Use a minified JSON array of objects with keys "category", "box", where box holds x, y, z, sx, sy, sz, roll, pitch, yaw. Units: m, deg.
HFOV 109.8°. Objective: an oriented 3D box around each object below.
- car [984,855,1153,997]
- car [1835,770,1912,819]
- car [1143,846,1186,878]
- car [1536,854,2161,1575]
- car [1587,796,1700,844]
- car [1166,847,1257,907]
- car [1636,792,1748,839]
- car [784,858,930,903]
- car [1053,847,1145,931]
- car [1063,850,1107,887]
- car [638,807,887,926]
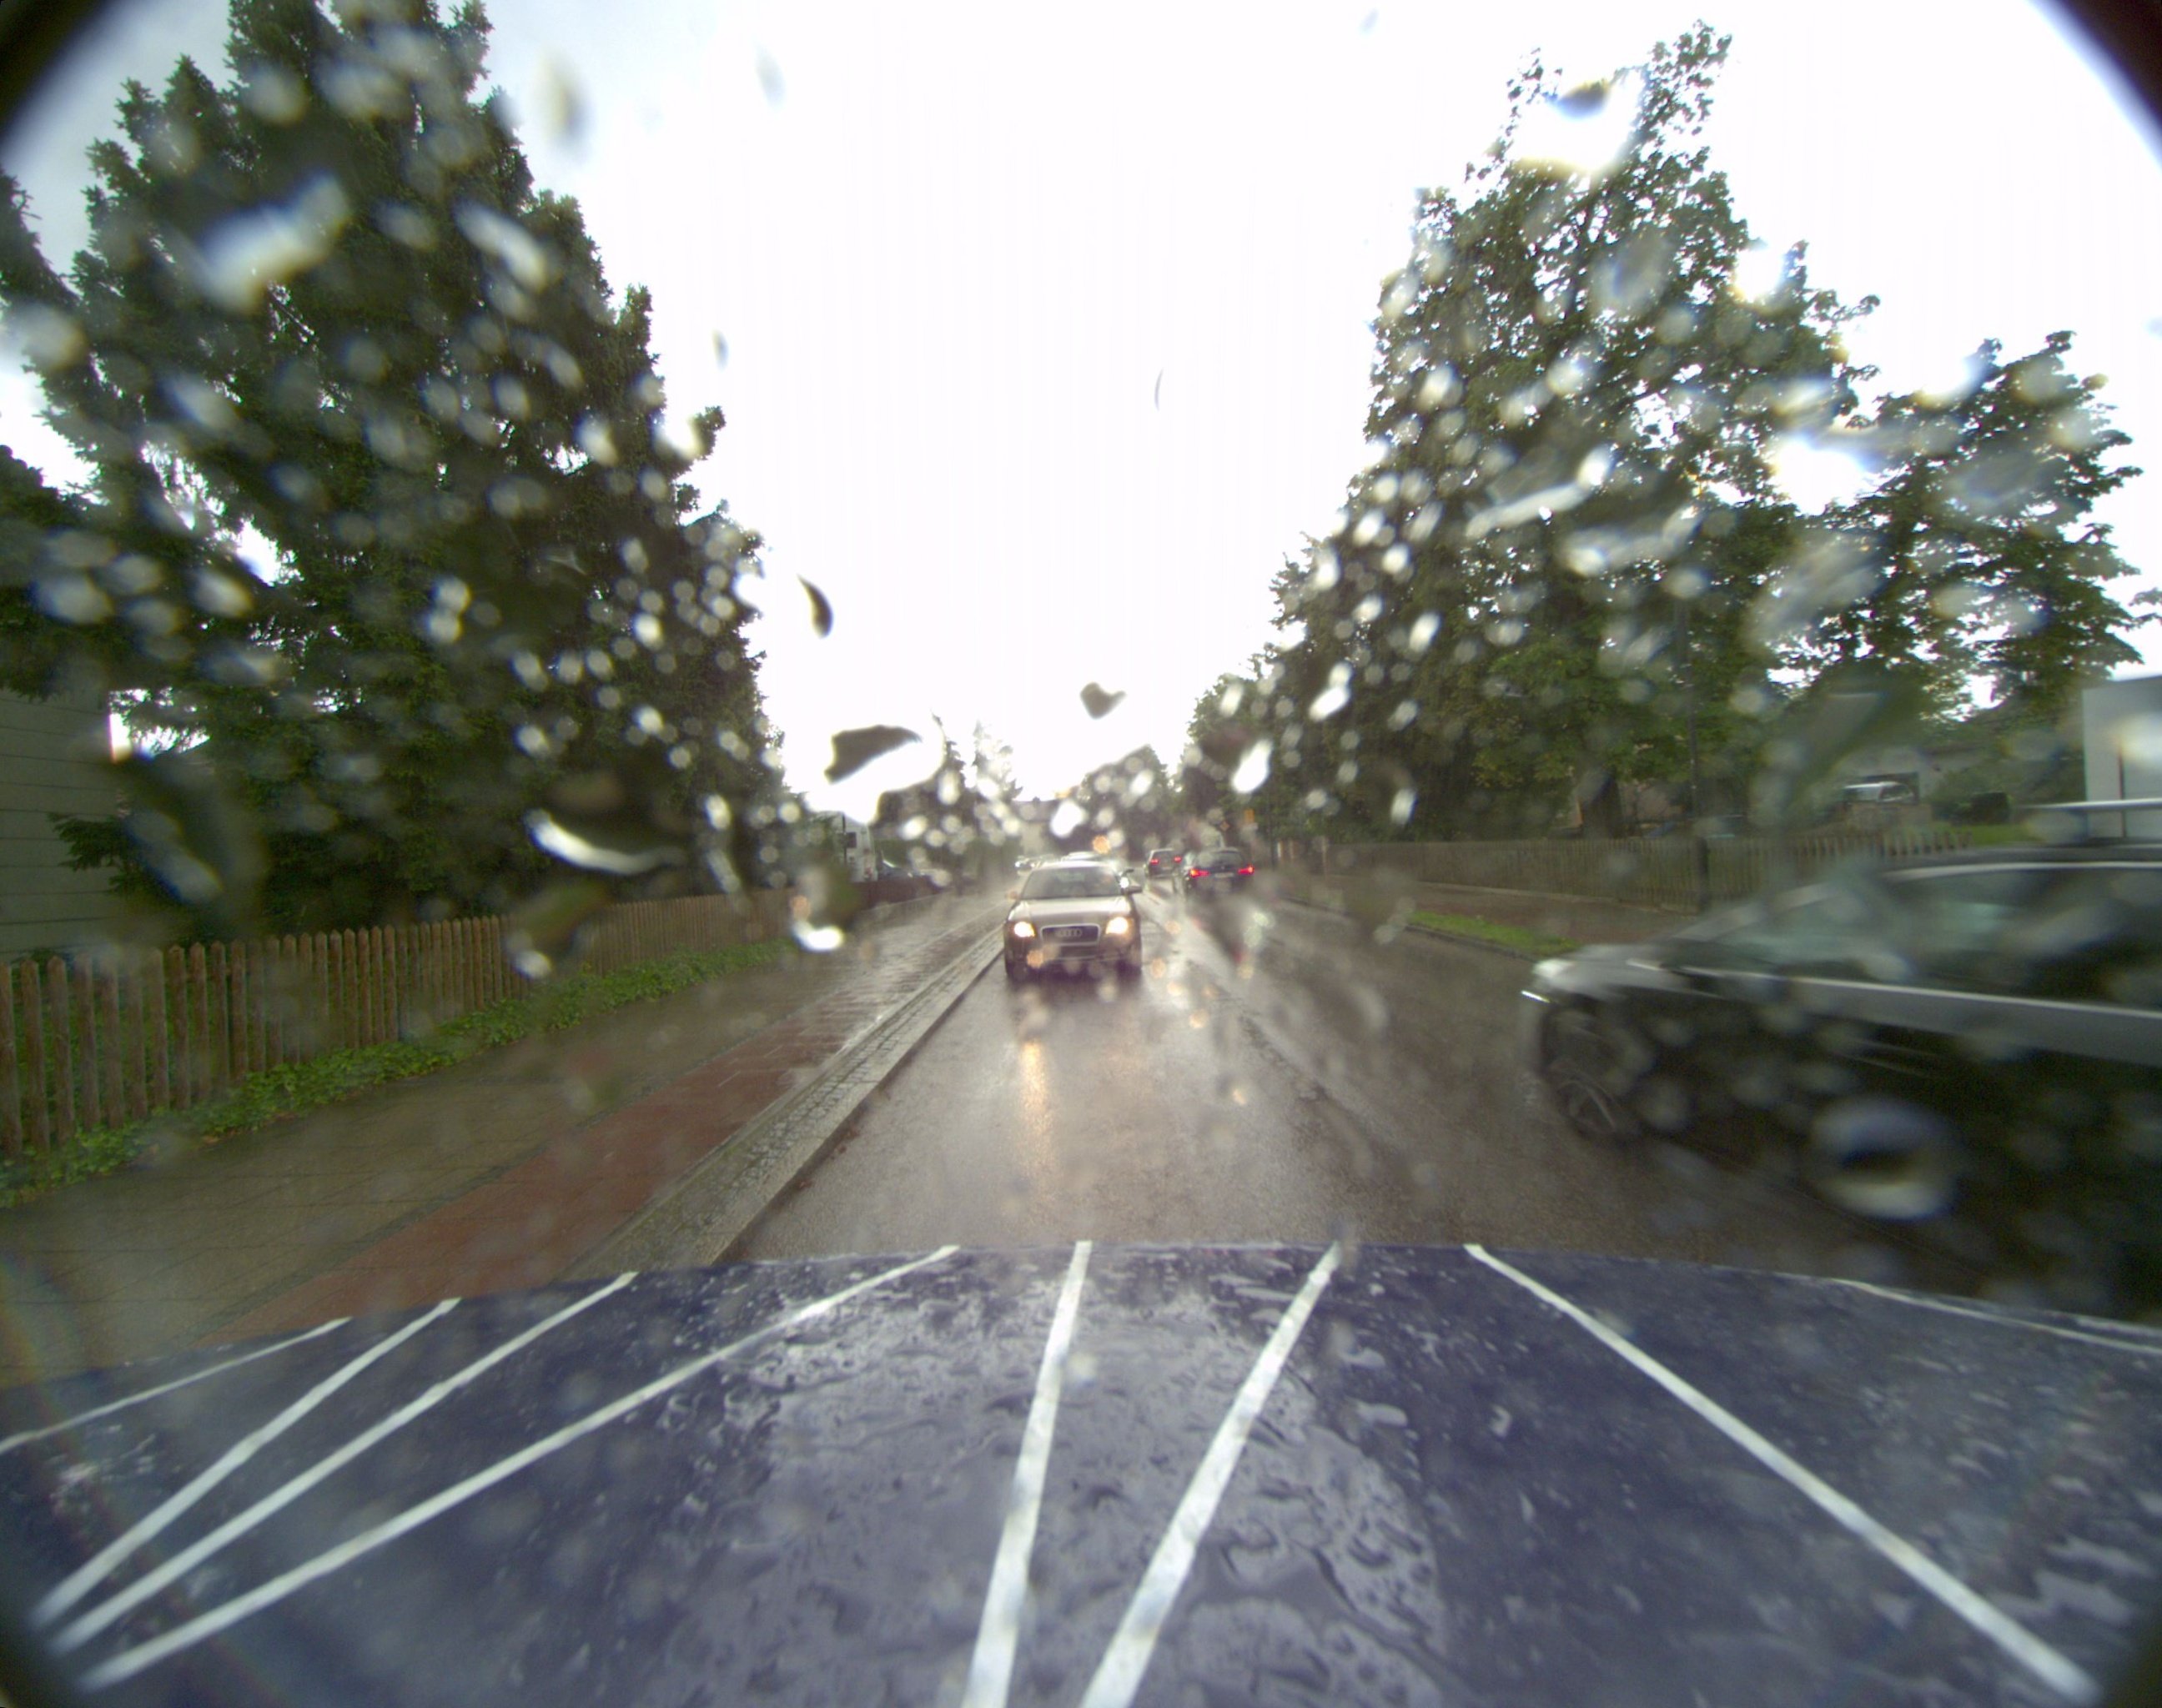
[{"category":"car","box":[-0.116,0.832,10.825,1.872,1.512,4.188,-3,1,1]},{"category":"car","box":[40.609,-3.026,38.927,3.857,2.281,1.782,-3,1,-29]},{"category":"car","box":[4.216,0.372,38.892,1.712,1.457,4.000,-4,1,1]},{"category":"car","box":[3.133,0.777,1.783,1.642,1.512,4.188,-1,0,1]},{"category":"car","box":[25.923,-1.530,35.117,1.845,1.792,3.649,-6,0,-33]},{"category":"car","box":[3.638,0.584,21.932,1.785,1.457,4.374,-4,1,0]},{"category":"car","box":[28.884,-1.806,36.004,1.845,1.792,3.649,-6,0,-33]},{"category":"car","box":[-7.396,0.855,25.460,4.443,1.413,1.829,0,1,-7]},{"category":"car","box":[0.418,0.738,18.923,1.872,1.603,4.960,-4,1,1]},{"category":"car","box":[0.200,0.630,36.800,1.872,1.512,4.960,-4,1,1]},{"category":"car","box":[-7.640,0.277,18.769,5.321,2.712,1.998,0,1,-9]}]
